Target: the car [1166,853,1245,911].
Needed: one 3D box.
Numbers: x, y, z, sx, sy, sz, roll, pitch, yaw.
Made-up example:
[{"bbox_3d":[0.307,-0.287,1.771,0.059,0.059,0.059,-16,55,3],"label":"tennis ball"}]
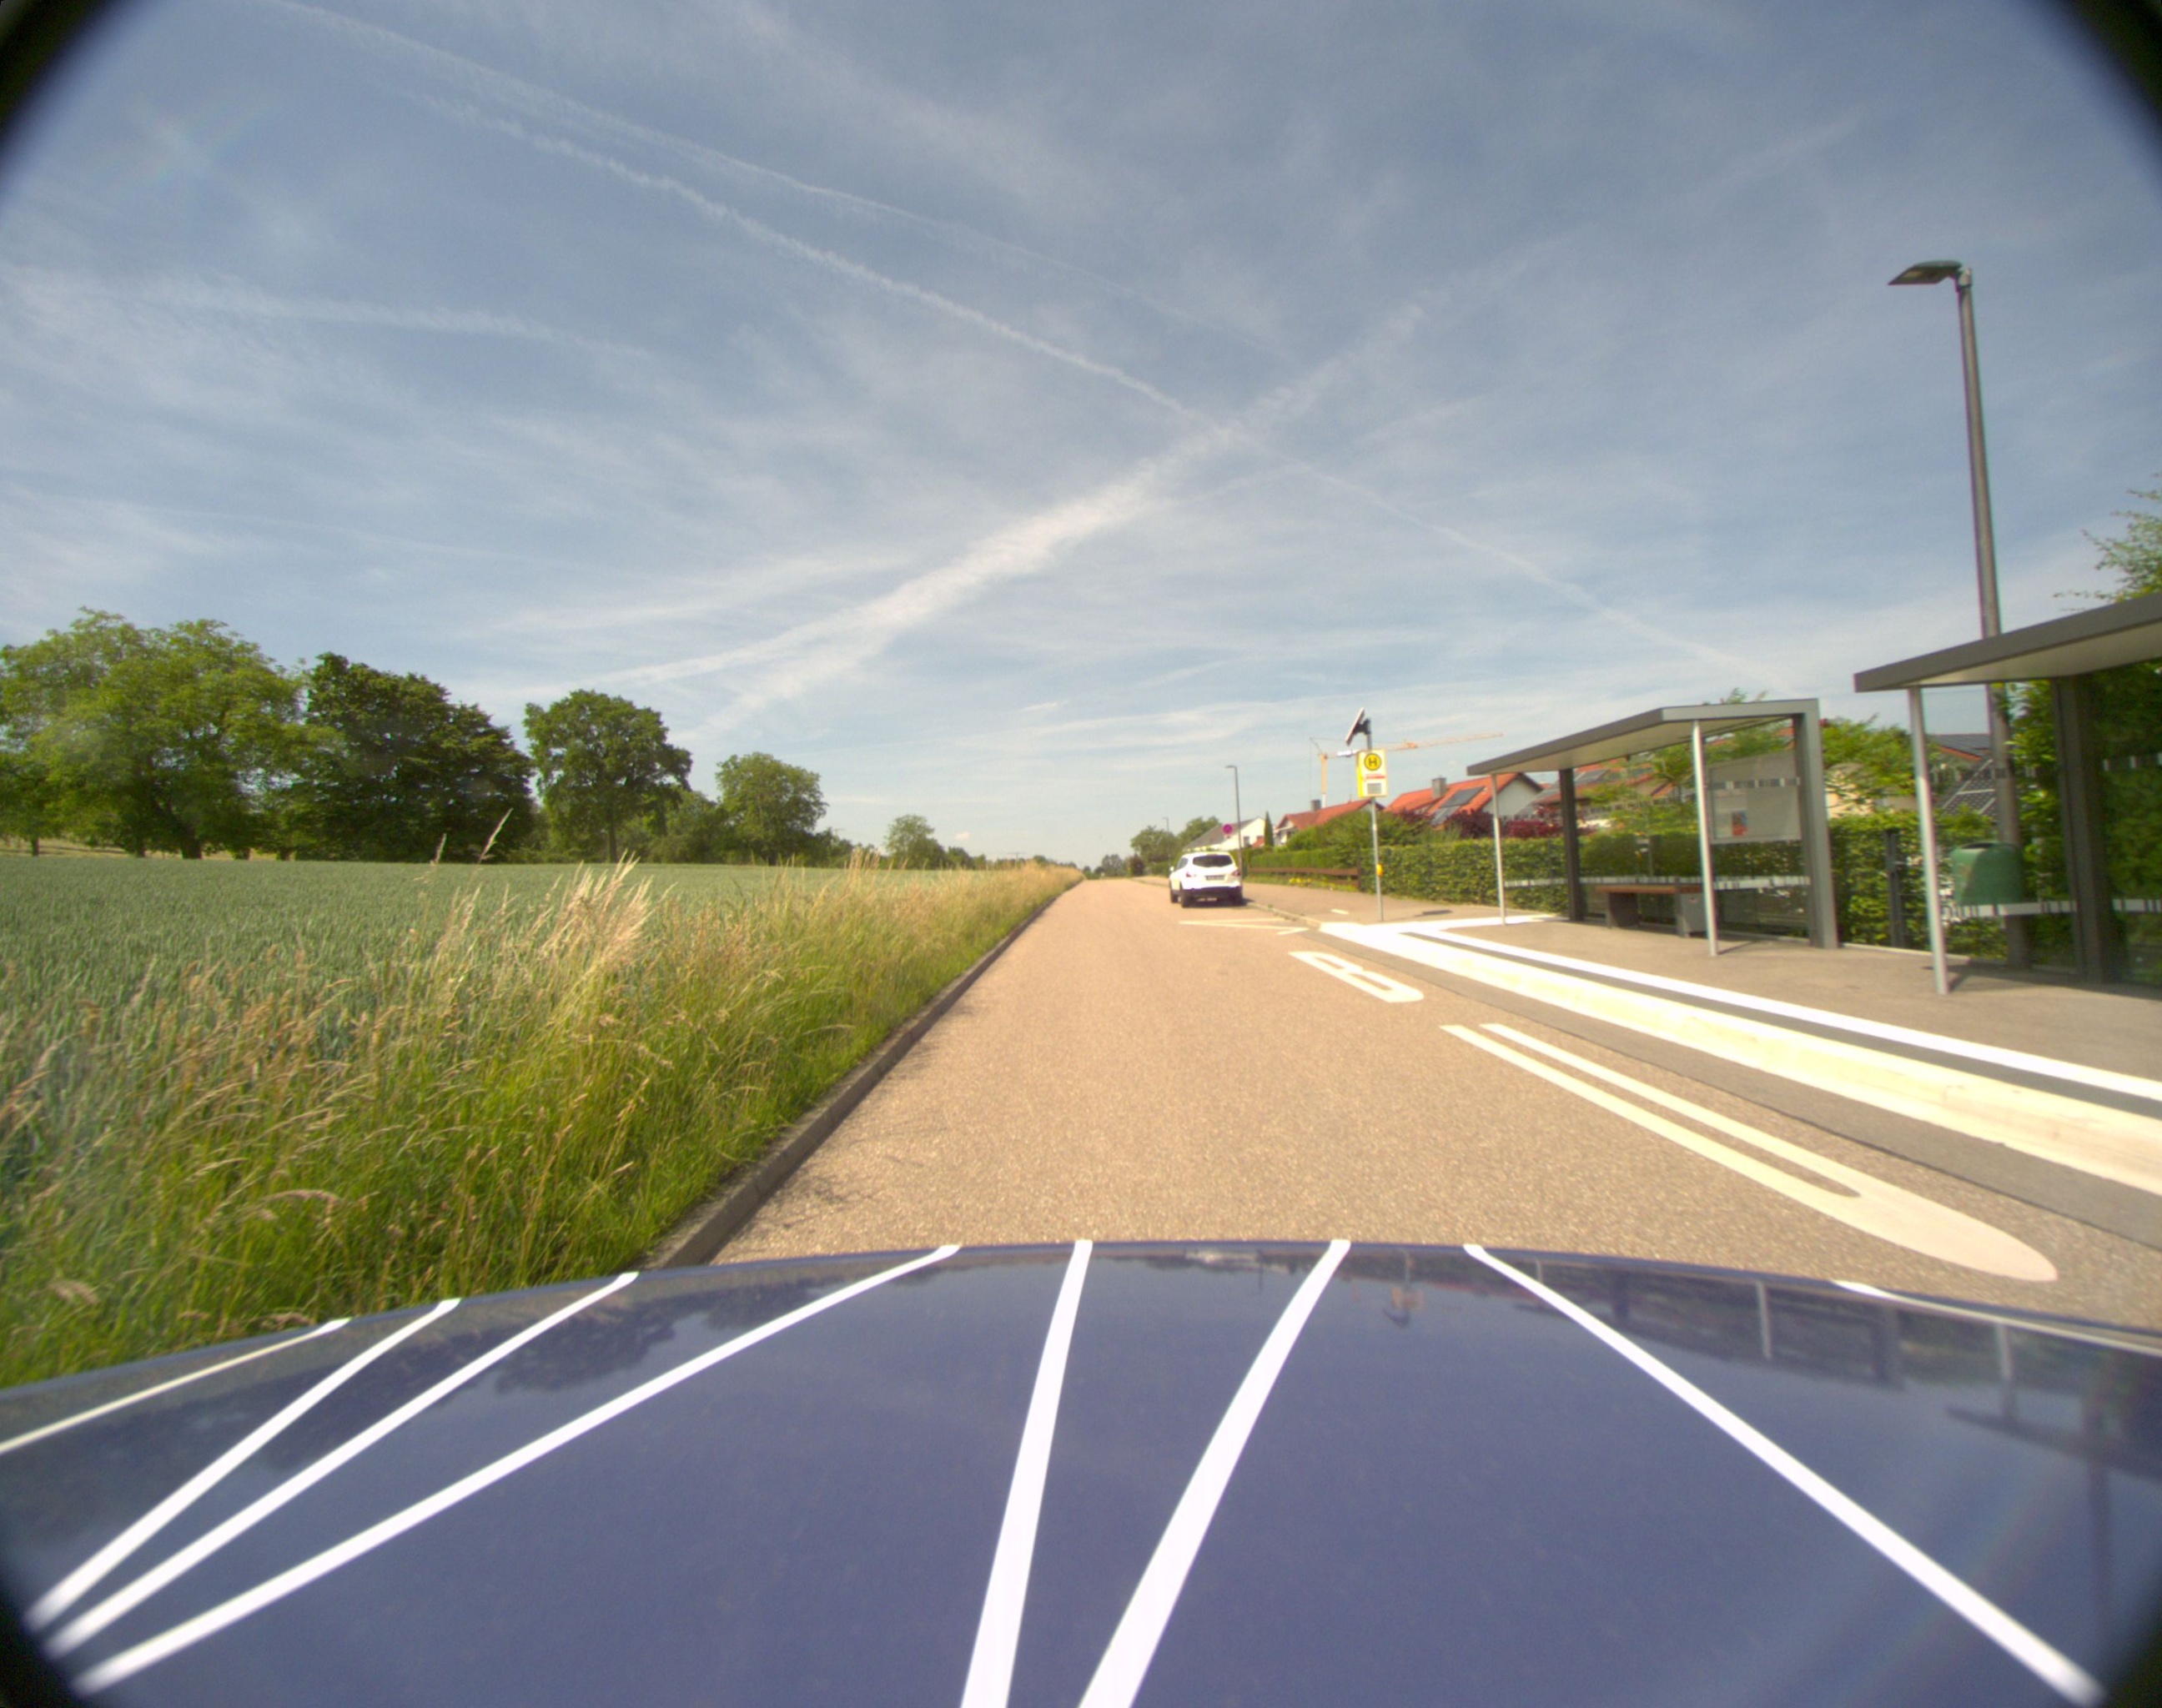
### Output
[{"bbox_3d":[3.828,0.811,23.993,1.738,1.623,4.352,-2,0,0],"label":"car"}]
